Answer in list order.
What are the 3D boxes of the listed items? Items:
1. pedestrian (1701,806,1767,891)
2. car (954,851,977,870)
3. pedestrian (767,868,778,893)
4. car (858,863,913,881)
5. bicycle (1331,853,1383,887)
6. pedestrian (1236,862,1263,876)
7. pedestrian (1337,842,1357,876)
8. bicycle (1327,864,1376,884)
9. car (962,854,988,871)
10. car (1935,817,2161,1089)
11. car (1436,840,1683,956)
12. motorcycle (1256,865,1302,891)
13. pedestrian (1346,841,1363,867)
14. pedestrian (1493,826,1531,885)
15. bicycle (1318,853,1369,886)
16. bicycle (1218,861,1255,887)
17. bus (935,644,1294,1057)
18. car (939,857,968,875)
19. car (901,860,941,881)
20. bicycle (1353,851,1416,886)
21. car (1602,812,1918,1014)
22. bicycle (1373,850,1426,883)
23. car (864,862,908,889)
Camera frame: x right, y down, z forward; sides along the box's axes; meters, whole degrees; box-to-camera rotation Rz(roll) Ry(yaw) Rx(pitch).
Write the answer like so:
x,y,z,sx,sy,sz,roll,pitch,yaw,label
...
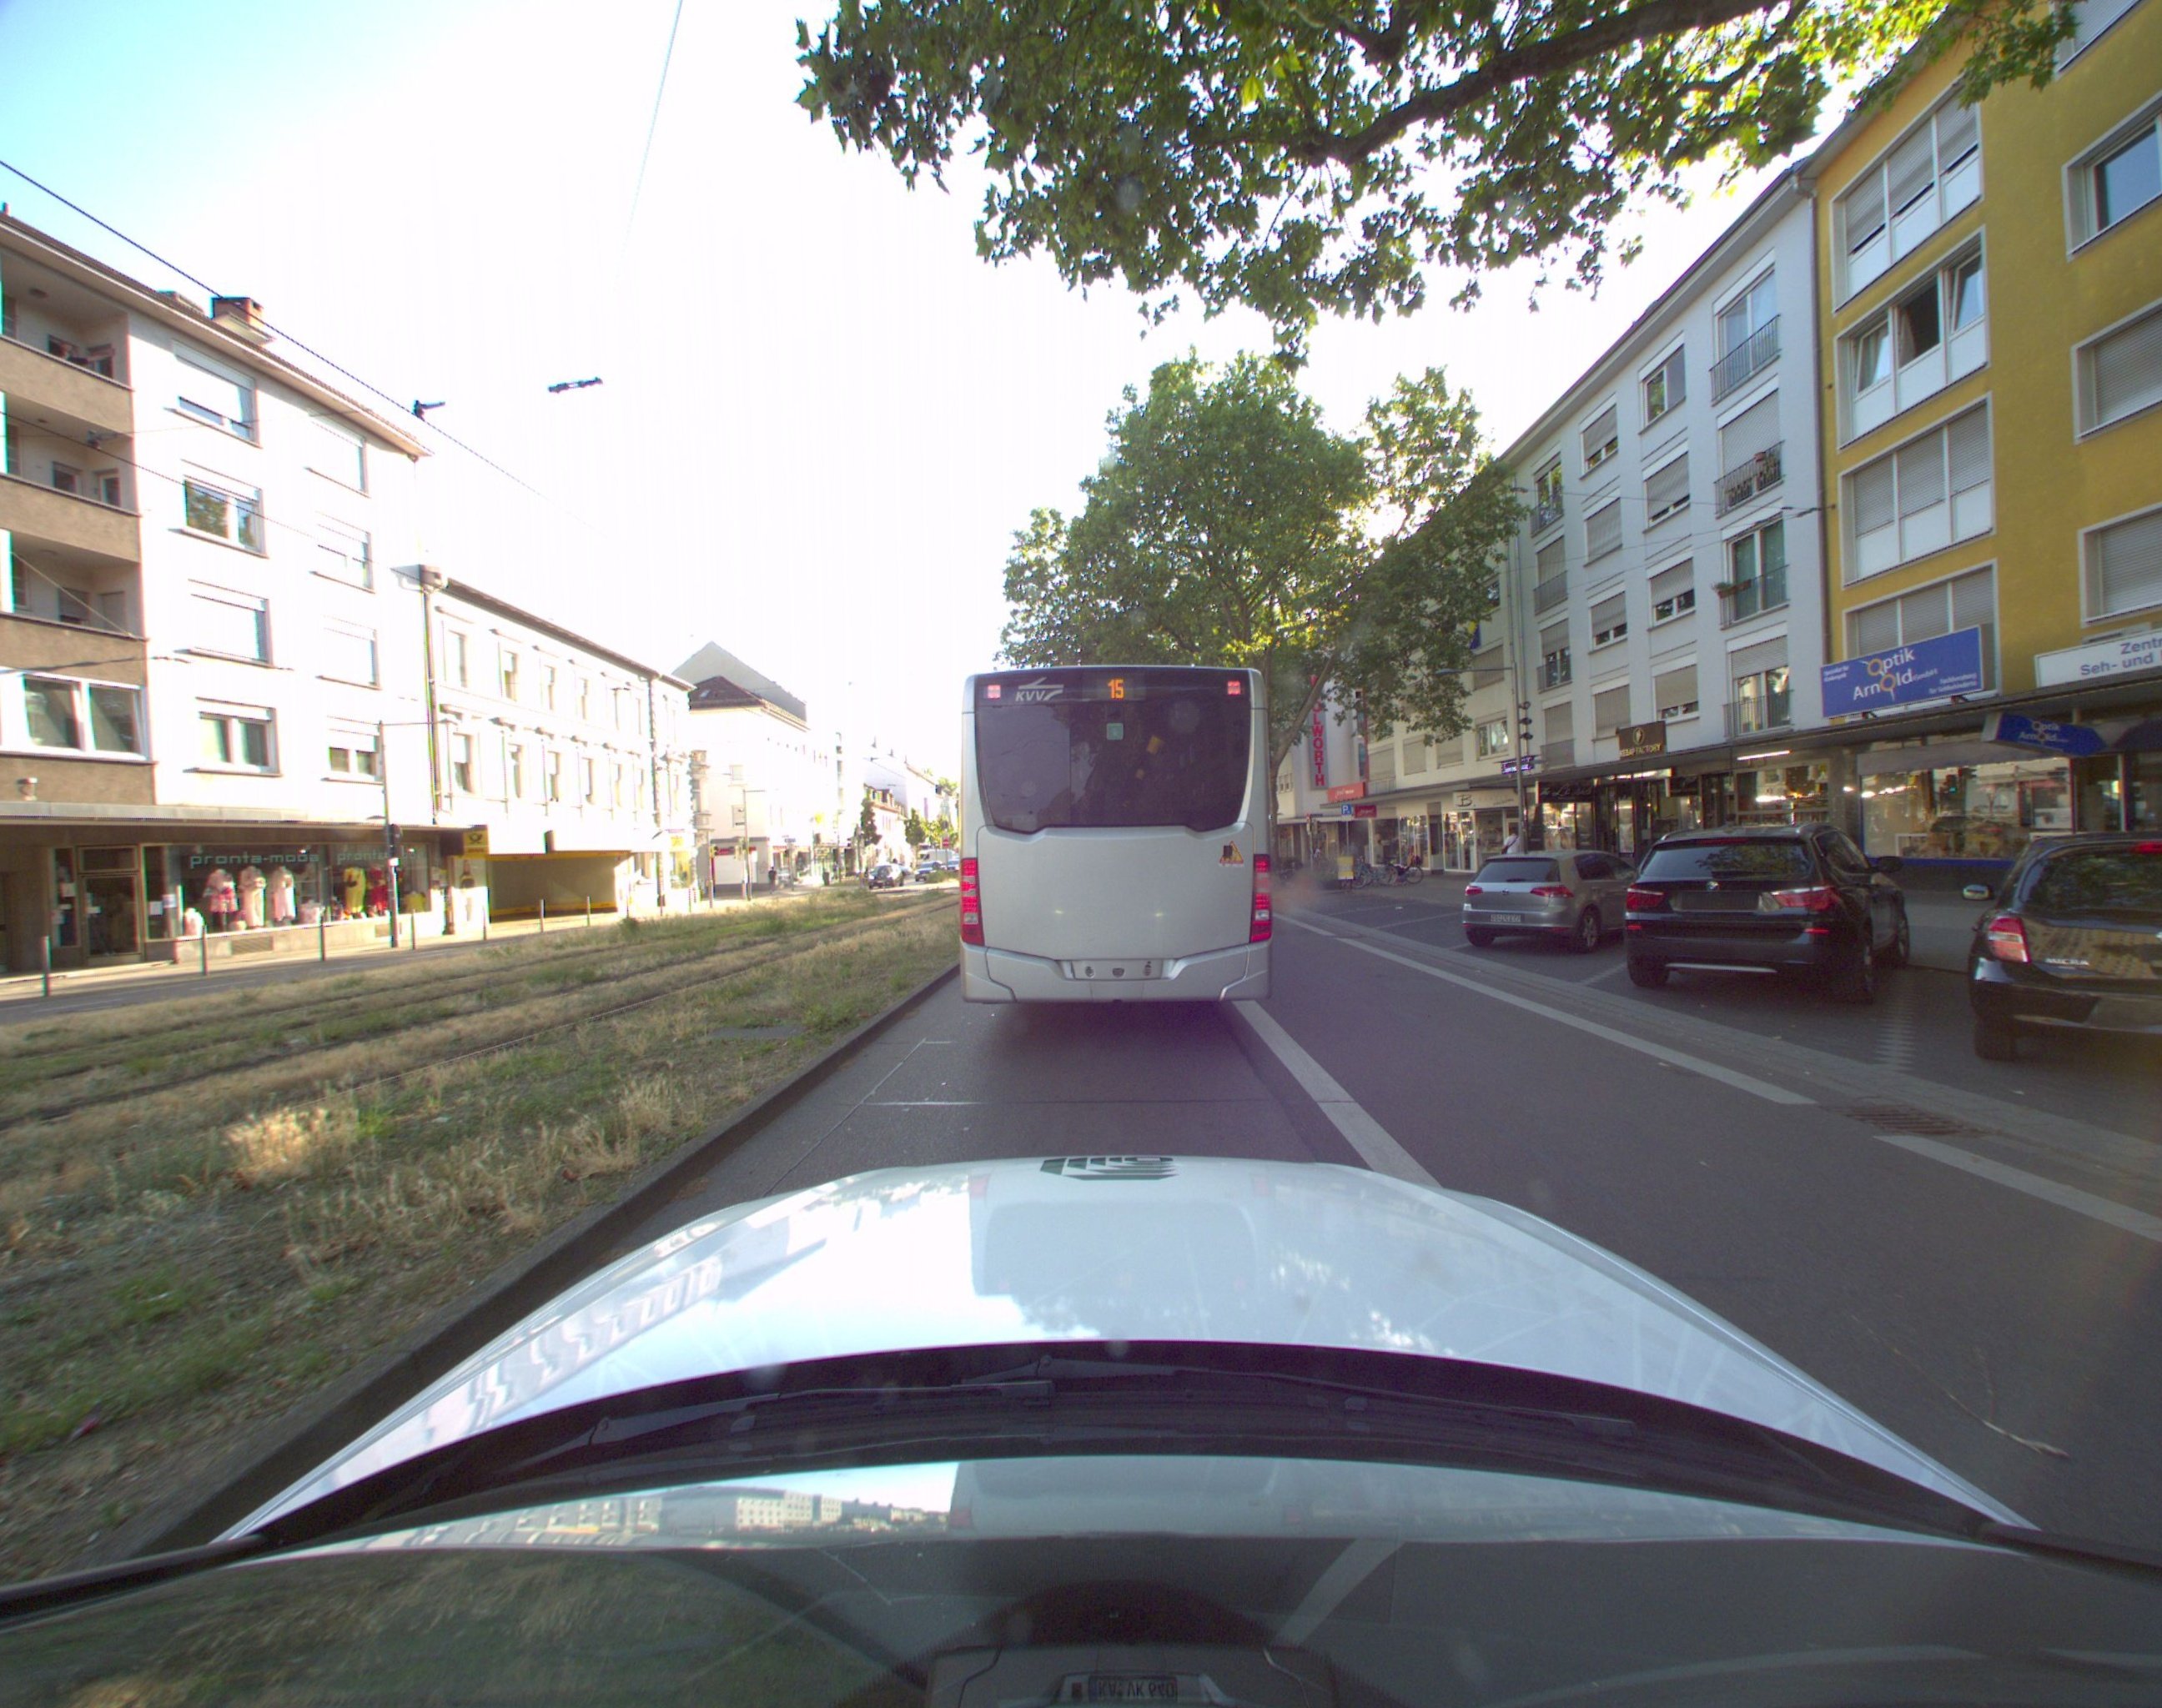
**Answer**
x,y,z,sx,sy,sz,roll,pitch,yaw,label
14.591,-0.120,18.219,0.703,1.791,0.789,-6,-1,8,pedestrian
-13.123,0.721,92.668,1.988,2.013,3.998,-2,0,-1,car
-20.857,1.796,55.108,0.423,1.713,0.509,-3,-1,6,pedestrian
-18.140,1.671,75.684,4.571,1.412,1.979,-2,0,-35,car
11.126,0.637,32.811,1.783,1.189,0.671,-5,-1,-7,bicycle
8.594,0.761,41.563,1.250,0.589,0.482,-4,0,0,pedestrian
14.231,0.253,43.571,0.777,1.794,0.764,-3,0,2,pedestrian
11.520,0.847,34.739,1.864,0.765,0.713,-3,1,10,bicycle
-11.171,0.902,86.158,1.772,1.615,4.513,-4,0,4,car
7.612,0.522,5.829,3.626,1.540,1.721,-2,0,-39,car
7.644,0.588,12.877,4.196,1.451,1.790,-2,0,-36,car
7.449,0.910,30.649,1.565,0.892,0.544,-3,0,-1,motorcycle
18.283,-0.023,54.494,0.746,1.679,0.834,-2,2,-4,pedestrian
14.085,0.036,26.616,0.643,1.876,0.821,-2,0,-11,pedestrian
10.895,0.640,33.828,1.864,1.189,0.713,-5,-1,10,bicycle
6.674,0.852,34.944,1.503,1.105,0.460,1,0,2,bicycle
0.440,-0.037,9.763,2.667,3.083,7.120,-1,0,3,bus
-12.152,1.114,78.125,1.773,1.450,4.049,-5,1,4,car
-12.859,1.316,65.681,1.986,1.559,4.777,-3,0,2,car
11.643,0.550,31.290,2.069,1.233,0.833,-3,0,6,bicycle
7.462,0.452,8.807,4.172,1.681,1.789,-2,0,-39,car
12.384,0.485,31.698,1.753,1.154,0.680,-4,-1,10,bicycle
-12.699,1.397,53.216,1.715,1.509,3.479,-5,0,3,car
